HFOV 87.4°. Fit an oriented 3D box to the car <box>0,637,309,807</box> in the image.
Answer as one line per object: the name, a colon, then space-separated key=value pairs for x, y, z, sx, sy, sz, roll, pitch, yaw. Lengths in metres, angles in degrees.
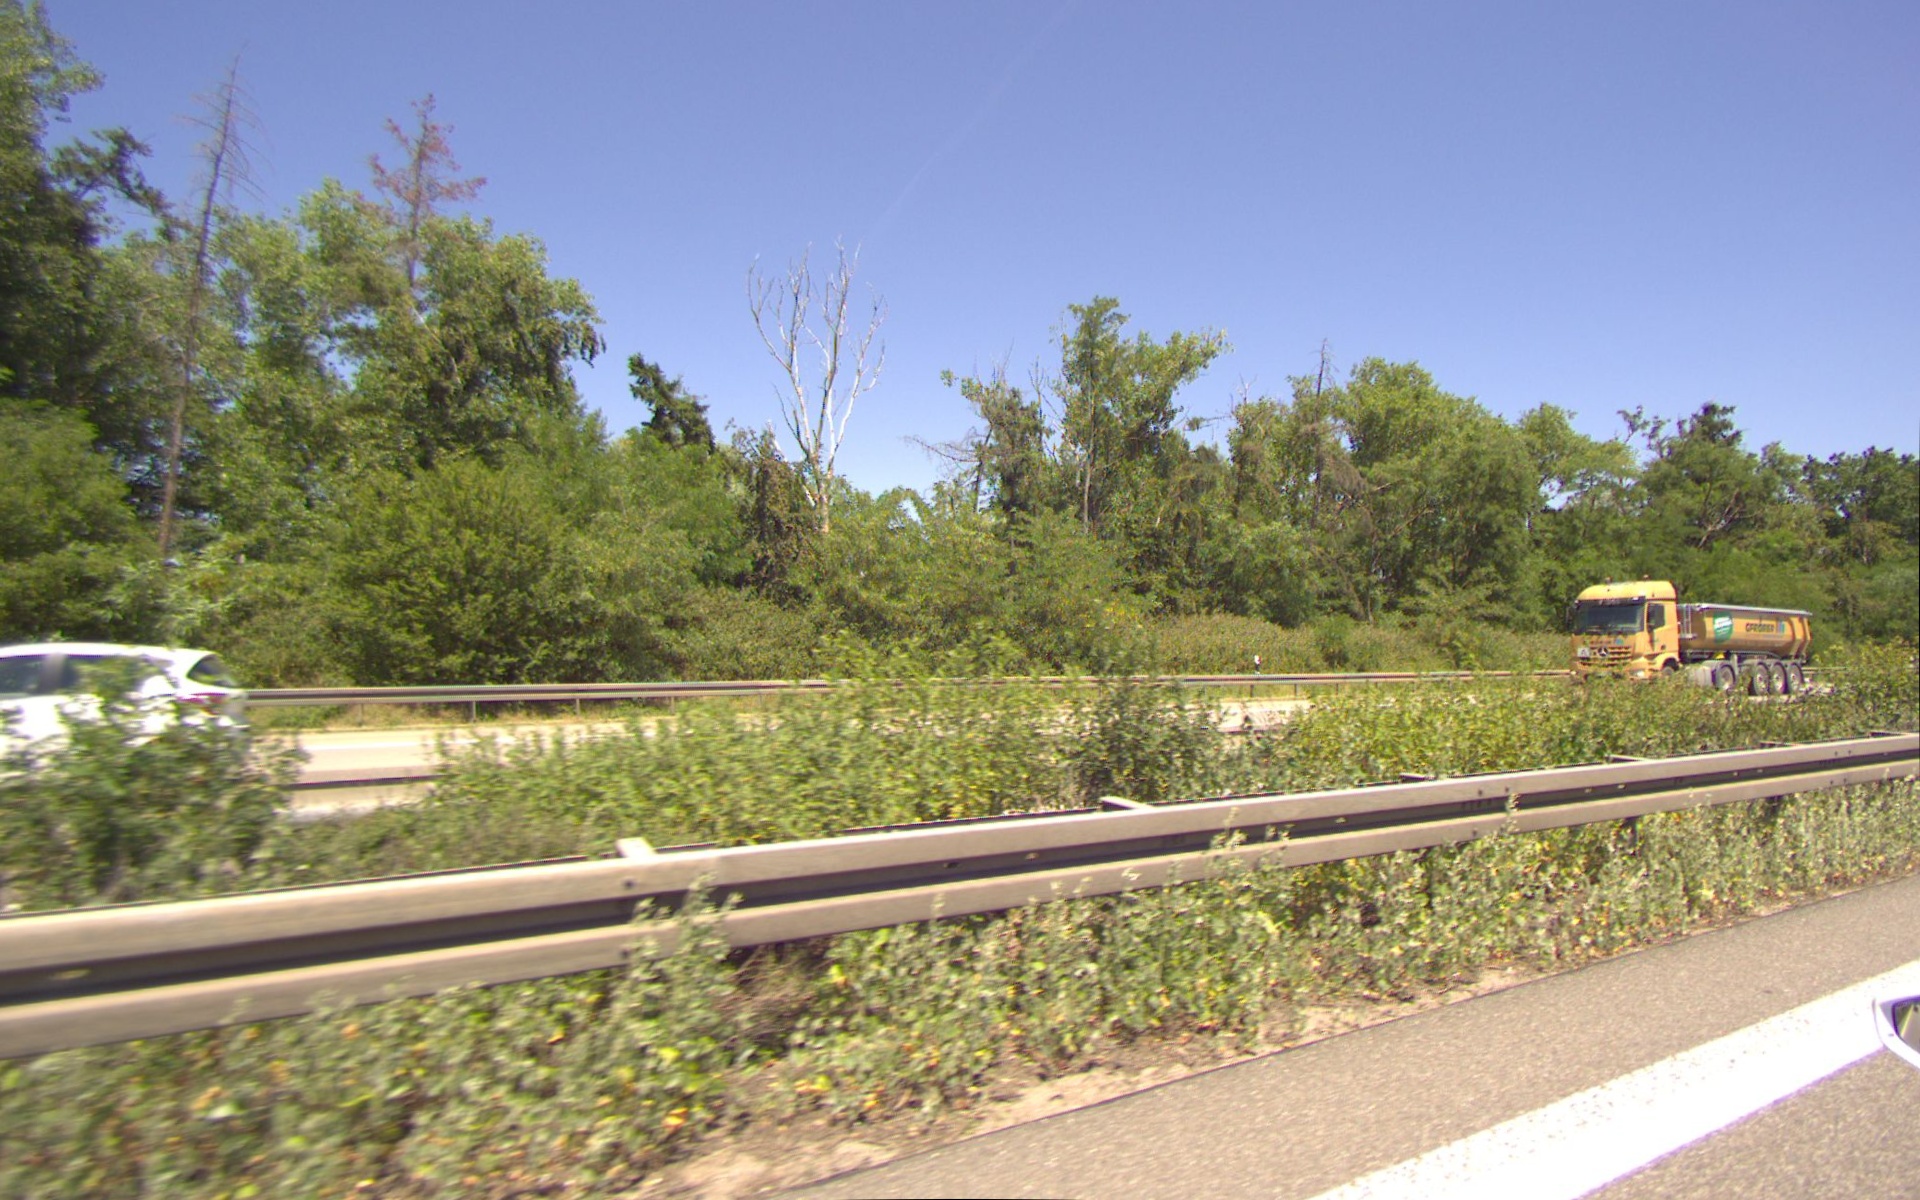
car: x=-8.628 y=1.141 z=9.785 sx=3.700 sy=1.501 sz=1.632 roll=2 pitch=-5 yaw=-30

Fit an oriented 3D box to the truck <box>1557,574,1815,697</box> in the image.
truck: x=24.902 y=1.294 z=34.125 sx=11.705 sy=3.681 sz=2.527 roll=2 pitch=-3 yaw=-30
